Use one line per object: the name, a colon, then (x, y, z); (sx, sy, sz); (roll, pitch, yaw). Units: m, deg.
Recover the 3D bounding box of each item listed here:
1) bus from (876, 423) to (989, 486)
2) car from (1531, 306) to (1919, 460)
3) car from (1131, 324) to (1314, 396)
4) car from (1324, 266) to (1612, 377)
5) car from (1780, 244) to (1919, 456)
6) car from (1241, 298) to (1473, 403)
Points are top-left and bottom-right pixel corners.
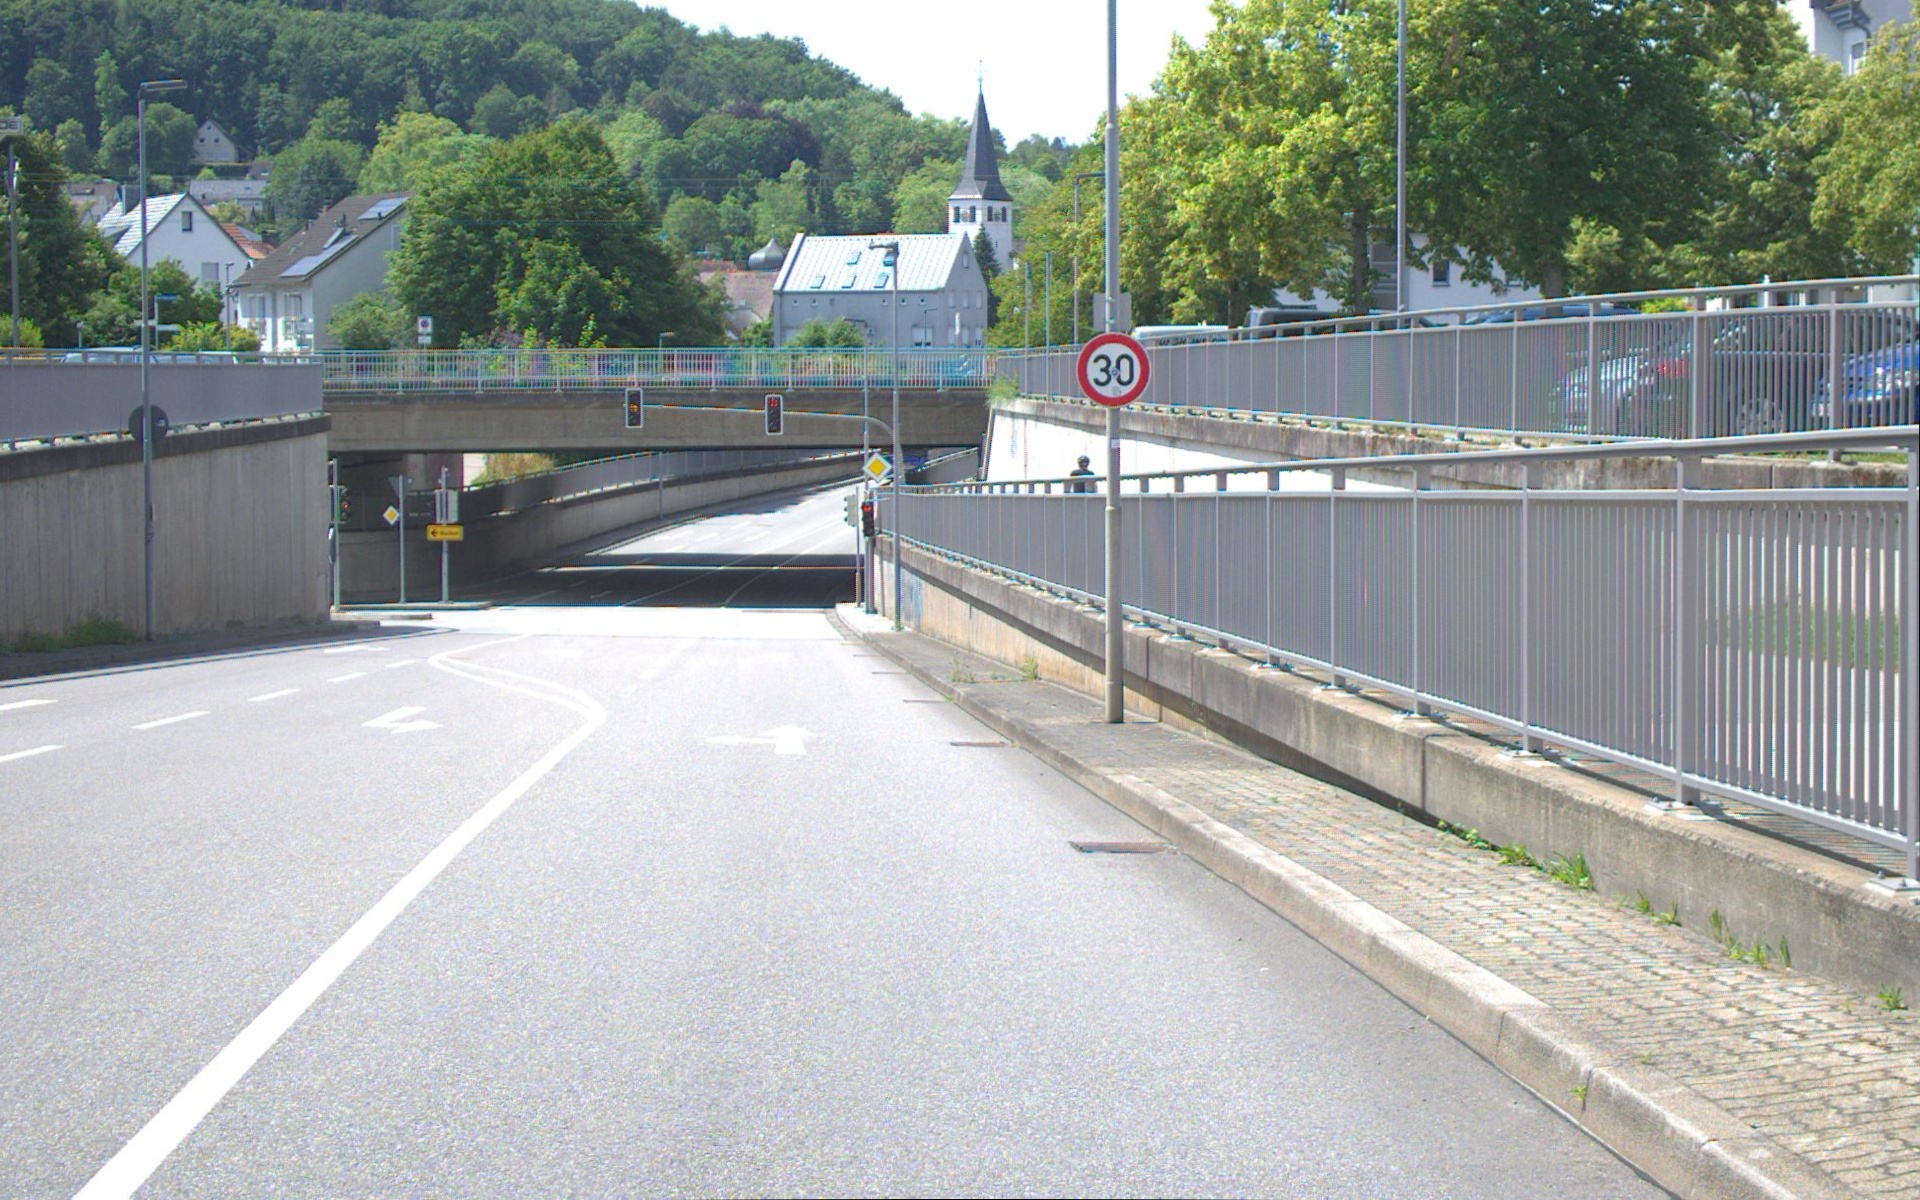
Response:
bus: (-1.356, -7.718, 180.939); (2.583, 3.161, 12.369); (1, 3, 16)
car: (7.735, -2.117, 33.621); (3.987, 1.423, 1.725); (1, 3, 0)
car: (5.923, -5.428, 77.968); (3.987, 1.481, 1.770); (1, 1, 0)
car: (7.492, -4.115, 50.971); (3.987, 1.481, 1.770); (1, 1, 0)
car: (9.173, -2.019, 28.882); (3.986, 1.624, 1.864); (1, 1, -12)
car: (7.213, -4.540, 62.719); (3.987, 1.764, 1.770); (1, 1, 0)
